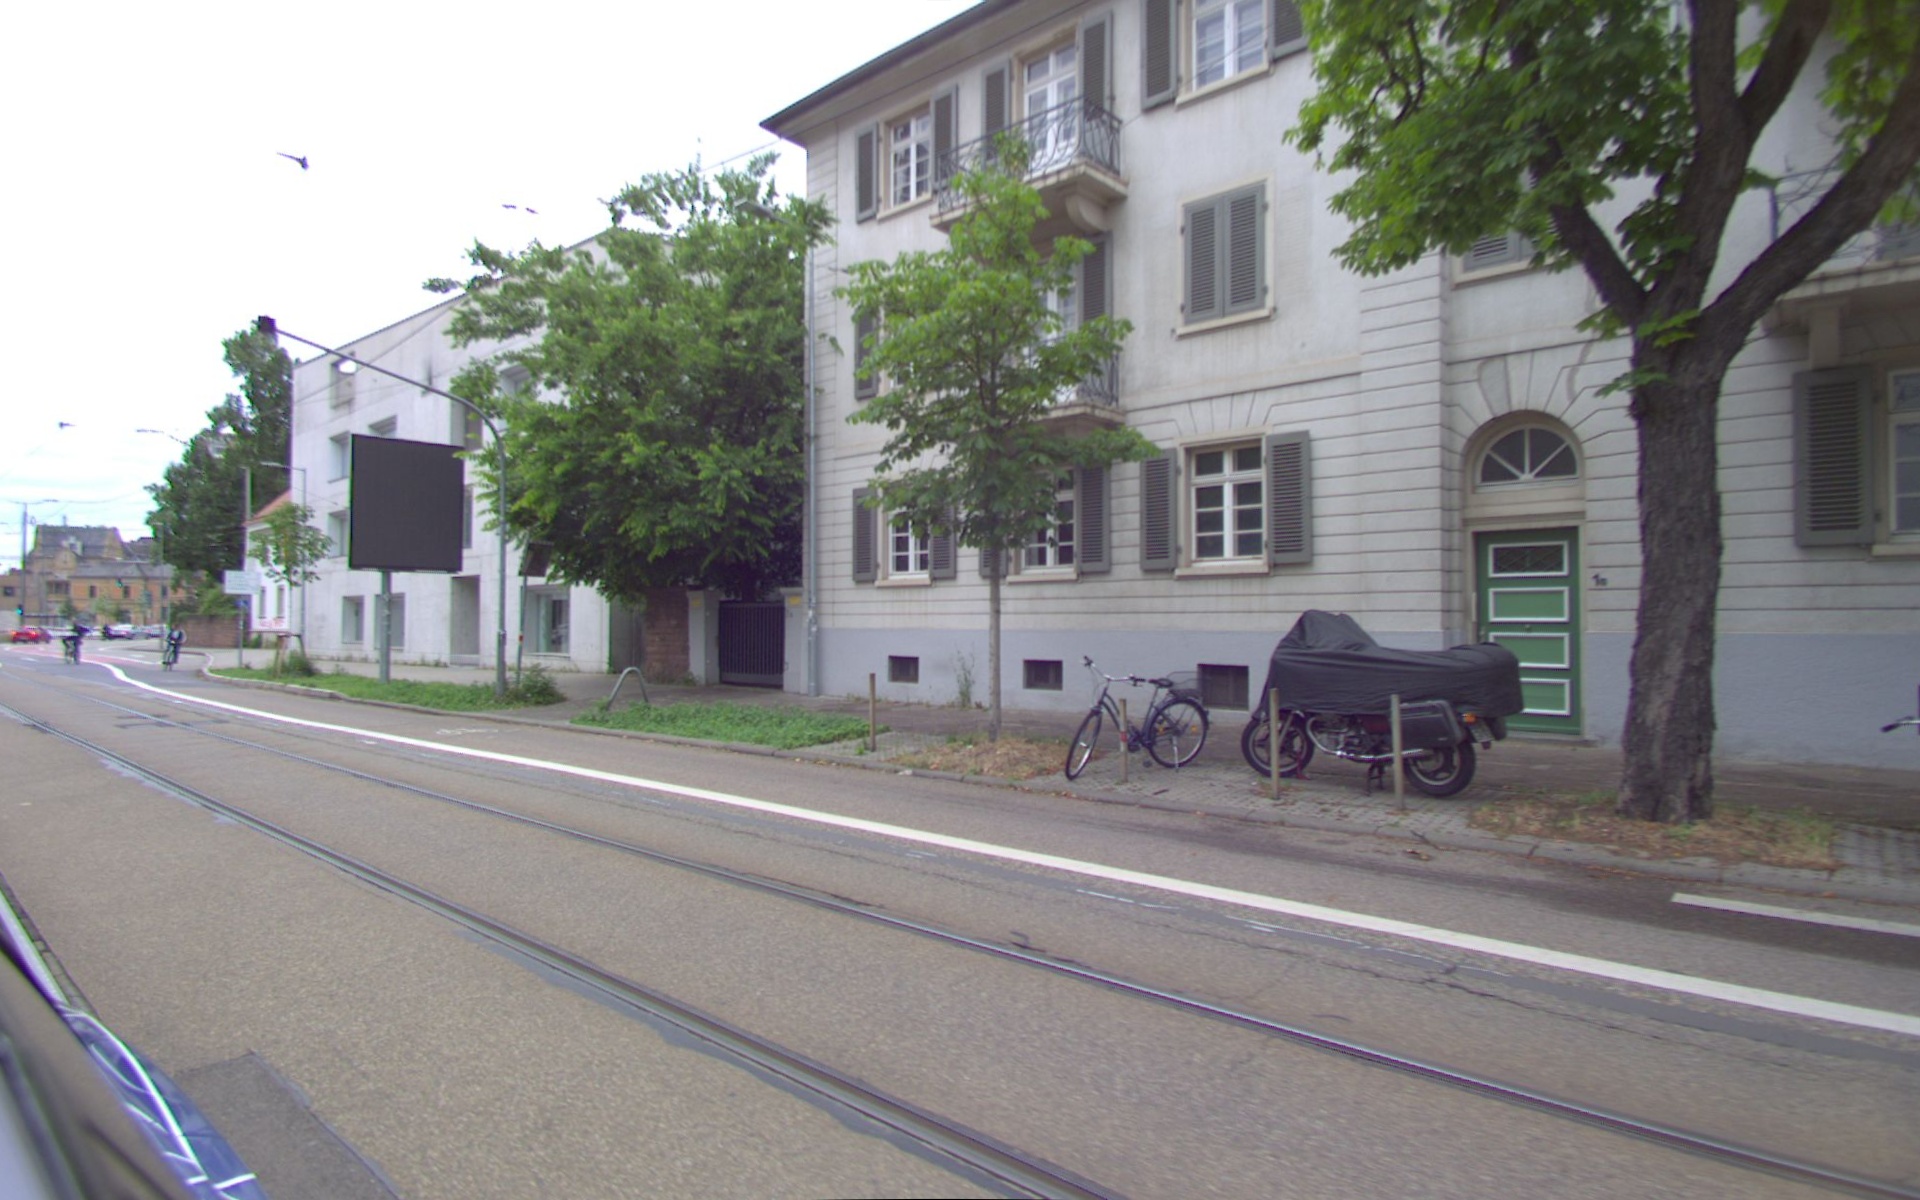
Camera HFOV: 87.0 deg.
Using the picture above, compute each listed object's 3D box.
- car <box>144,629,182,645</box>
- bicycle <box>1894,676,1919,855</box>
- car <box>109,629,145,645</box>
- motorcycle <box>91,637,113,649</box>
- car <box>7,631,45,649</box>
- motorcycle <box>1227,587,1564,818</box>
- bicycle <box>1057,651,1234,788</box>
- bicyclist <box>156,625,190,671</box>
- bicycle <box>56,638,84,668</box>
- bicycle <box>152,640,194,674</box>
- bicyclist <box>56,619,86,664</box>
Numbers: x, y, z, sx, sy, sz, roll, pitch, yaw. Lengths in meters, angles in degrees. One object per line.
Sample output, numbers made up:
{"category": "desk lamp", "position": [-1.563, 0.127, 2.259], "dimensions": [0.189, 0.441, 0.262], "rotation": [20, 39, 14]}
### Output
{"category": "car", "position": [-84.518, 3.884, 107.322], "dimensions": [1.658, 1.663, 3.991], "rotation": [0, -1, -14]}
{"category": "bicycle", "position": [6.036, 1.033, 5.965], "dimensions": [0.563, 1.035, 1.877], "rotation": [-2, -1, 37]}
{"category": "car", "position": [-82.538, 3.627, 100.350], "dimensions": [1.469, 1.520, 3.479], "rotation": [0, -2, -16]}
{"category": "motorcycle", "position": [-80.624, 4.043, 95.143], "dimensions": [1.038, 1.077, 2.656], "rotation": [0, -2, -28]}
{"category": "car", "position": [-77.675, 3.314, 84.207], "dimensions": [1.732, 1.511, 4.010], "rotation": [3, -3, -35]}
{"category": "motorcycle", "position": [3.547, 0.773, 8.515], "dimensions": [0.822, 1.655, 2.484], "rotation": [2, -2, -40]}
{"category": "bicycle", "position": [1.801, 1.102, 9.739], "dimensions": [1.718, 1.137, 0.519], "rotation": [-1, -1, -31]}
{"category": "bicyclist", "position": [-29.794, 1.815, 38.324], "dimensions": [0.763, 1.703, 0.871], "rotation": [1, -2, -22]}
{"category": "bicycle", "position": [-36.743, 2.195, 41.788], "dimensions": [0.781, 1.195, 2.013], "rotation": [5, -5, -41]}
{"category": "bicycle", "position": [-29.789, 2.135, 38.330], "dimensions": [0.763, 1.221, 1.875], "rotation": [1, -2, -22]}
{"category": "bicyclist", "position": [-36.690, 1.720, 41.776], "dimensions": [0.781, 1.797, 1.149], "rotation": [5, -5, -41]}
